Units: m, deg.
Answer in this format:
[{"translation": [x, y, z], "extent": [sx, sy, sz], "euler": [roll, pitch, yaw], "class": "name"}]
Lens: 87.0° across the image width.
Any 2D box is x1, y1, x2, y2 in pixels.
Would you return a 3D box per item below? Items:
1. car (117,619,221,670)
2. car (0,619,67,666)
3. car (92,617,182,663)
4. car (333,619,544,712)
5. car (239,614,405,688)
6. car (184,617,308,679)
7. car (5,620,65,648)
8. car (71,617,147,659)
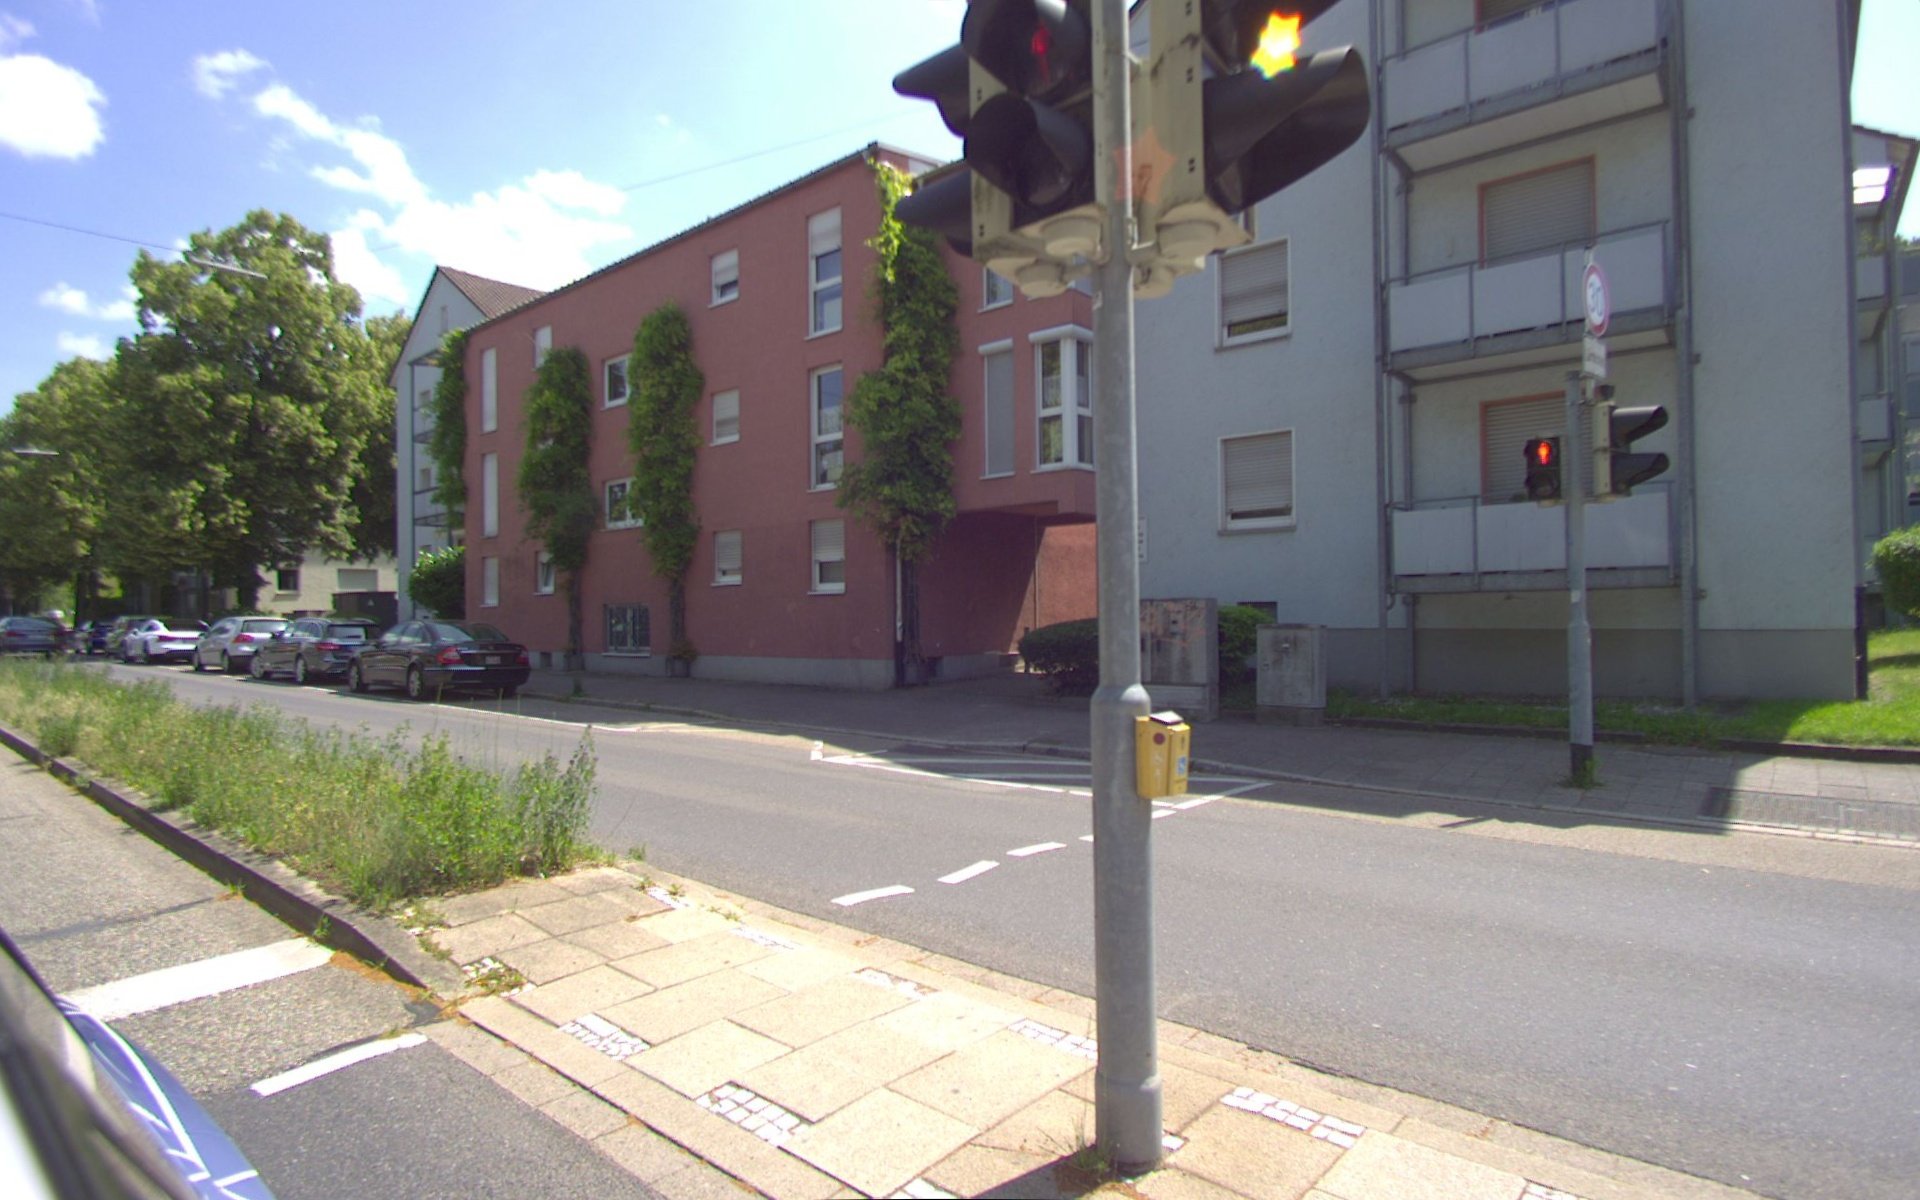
[{"translation": [-24.760, 1.355, 31.633], "extent": [3.996, 1.453, 1.730], "euler": [-1, 0, 39], "class": "car"}, {"translation": [-32.998, 1.451, 35.603], "extent": [3.996, 1.519, 1.730], "euler": [-1, 0, 39], "class": "car"}, {"translation": [-29.445, 1.399, 36.185], "extent": [3.996, 1.519, 1.730], "euler": [-1, 0, 39], "class": "car"}, {"translation": [-9.928, 1.141, 19.126], "extent": [4.563, 1.551, 1.867], "euler": [-1, -1, 39], "class": "car"}, {"translation": [-14.732, 1.110, 23.295], "extent": [4.563, 1.551, 1.867], "euler": [-1, -1, 39], "class": "car"}, {"translation": [-19.327, 1.250, 27.337], "extent": [3.996, 1.519, 1.730], "euler": [-1, 0, 39], "class": "car"}, {"translation": [-46.792, 1.705, 51.169], "extent": [3.604, 1.343, 1.736], "euler": [-1, 0, 39], "class": "car"}, {"translation": [-33.325, 1.448, 39.593], "extent": [3.996, 1.519, 1.552], "euler": [-1, 0, 39], "class": "car"}]
